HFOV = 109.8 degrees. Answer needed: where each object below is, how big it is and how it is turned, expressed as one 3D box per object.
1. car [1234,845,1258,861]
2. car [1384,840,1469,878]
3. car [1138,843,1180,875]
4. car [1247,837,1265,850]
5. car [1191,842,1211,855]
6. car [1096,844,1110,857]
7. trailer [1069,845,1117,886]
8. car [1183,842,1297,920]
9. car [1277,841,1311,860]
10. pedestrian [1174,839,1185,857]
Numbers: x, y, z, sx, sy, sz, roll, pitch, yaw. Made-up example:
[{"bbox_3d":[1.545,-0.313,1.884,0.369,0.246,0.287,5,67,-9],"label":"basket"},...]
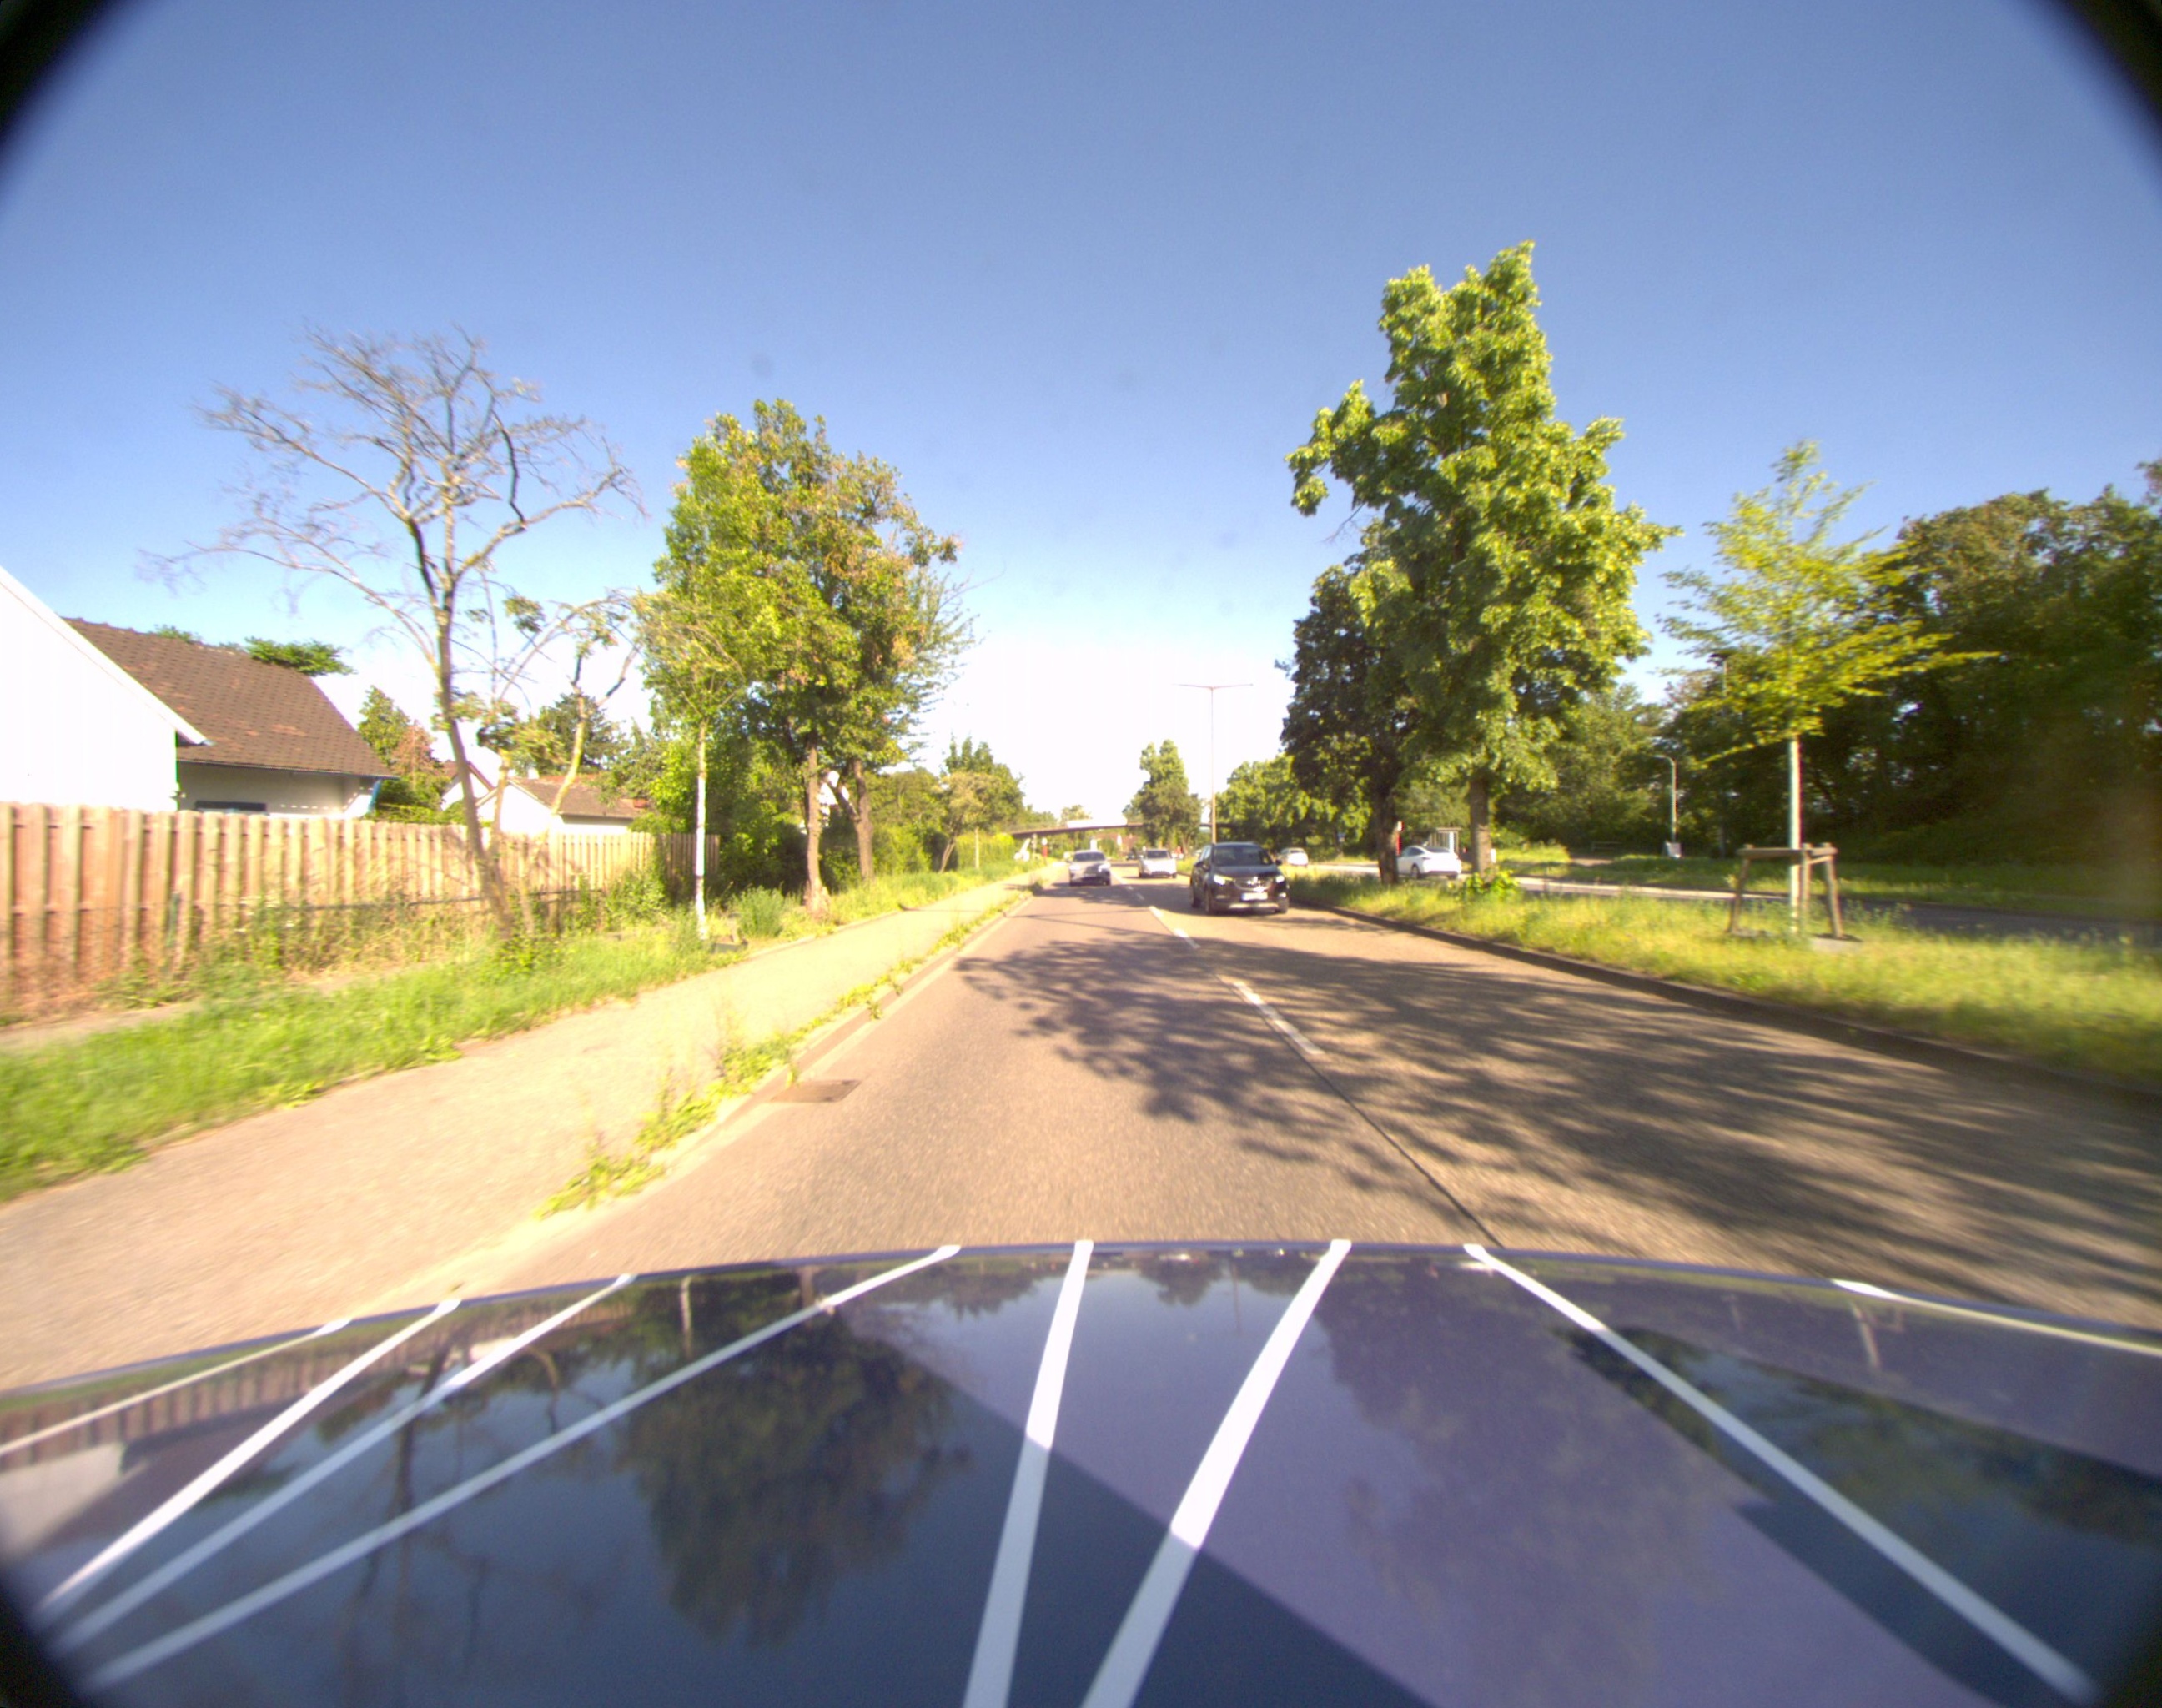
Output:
[{"bbox_3d":[17.079,-0.142,78.894,1.608,1.554,3.999,1,1,-1],"label":"car"},{"bbox_3d":[16.540,0.211,36.677,1.844,1.580,4.584,4,1,-1],"label":"car"},{"bbox_3d":[4.127,0.246,40.777,1.823,1.553,4.646,-2,0,2],"label":"car"},{"bbox_3d":[20.626,-1.259,89.606,1.585,1.406,3.132,-1,1,5],"label":"car"},{"bbox_3d":[13.751,-0.680,87.179,1.717,1.464,4.063,0,1,2],"label":"car"},{"bbox_3d":[3.027,-0.457,103.678,1.823,1.587,4.272,-2,0,1],"label":"car"},{"bbox_3d":[0.554,0.503,33.998,1.897,1.585,4.000,-5,-1,1],"label":"trailer"},{"bbox_3d":[3.656,0.536,18.247,1.811,1.605,4.514,-2,1,1],"label":"car"},{"bbox_3d":[17.007,-0.324,60.799,1.717,1.464,4.063,0,1,2],"label":"car"},{"bbox_3d":[9.551,-0.574,73.749,0.631,1.687,0.945,-1,1,31],"label":"pedestrian"}]
